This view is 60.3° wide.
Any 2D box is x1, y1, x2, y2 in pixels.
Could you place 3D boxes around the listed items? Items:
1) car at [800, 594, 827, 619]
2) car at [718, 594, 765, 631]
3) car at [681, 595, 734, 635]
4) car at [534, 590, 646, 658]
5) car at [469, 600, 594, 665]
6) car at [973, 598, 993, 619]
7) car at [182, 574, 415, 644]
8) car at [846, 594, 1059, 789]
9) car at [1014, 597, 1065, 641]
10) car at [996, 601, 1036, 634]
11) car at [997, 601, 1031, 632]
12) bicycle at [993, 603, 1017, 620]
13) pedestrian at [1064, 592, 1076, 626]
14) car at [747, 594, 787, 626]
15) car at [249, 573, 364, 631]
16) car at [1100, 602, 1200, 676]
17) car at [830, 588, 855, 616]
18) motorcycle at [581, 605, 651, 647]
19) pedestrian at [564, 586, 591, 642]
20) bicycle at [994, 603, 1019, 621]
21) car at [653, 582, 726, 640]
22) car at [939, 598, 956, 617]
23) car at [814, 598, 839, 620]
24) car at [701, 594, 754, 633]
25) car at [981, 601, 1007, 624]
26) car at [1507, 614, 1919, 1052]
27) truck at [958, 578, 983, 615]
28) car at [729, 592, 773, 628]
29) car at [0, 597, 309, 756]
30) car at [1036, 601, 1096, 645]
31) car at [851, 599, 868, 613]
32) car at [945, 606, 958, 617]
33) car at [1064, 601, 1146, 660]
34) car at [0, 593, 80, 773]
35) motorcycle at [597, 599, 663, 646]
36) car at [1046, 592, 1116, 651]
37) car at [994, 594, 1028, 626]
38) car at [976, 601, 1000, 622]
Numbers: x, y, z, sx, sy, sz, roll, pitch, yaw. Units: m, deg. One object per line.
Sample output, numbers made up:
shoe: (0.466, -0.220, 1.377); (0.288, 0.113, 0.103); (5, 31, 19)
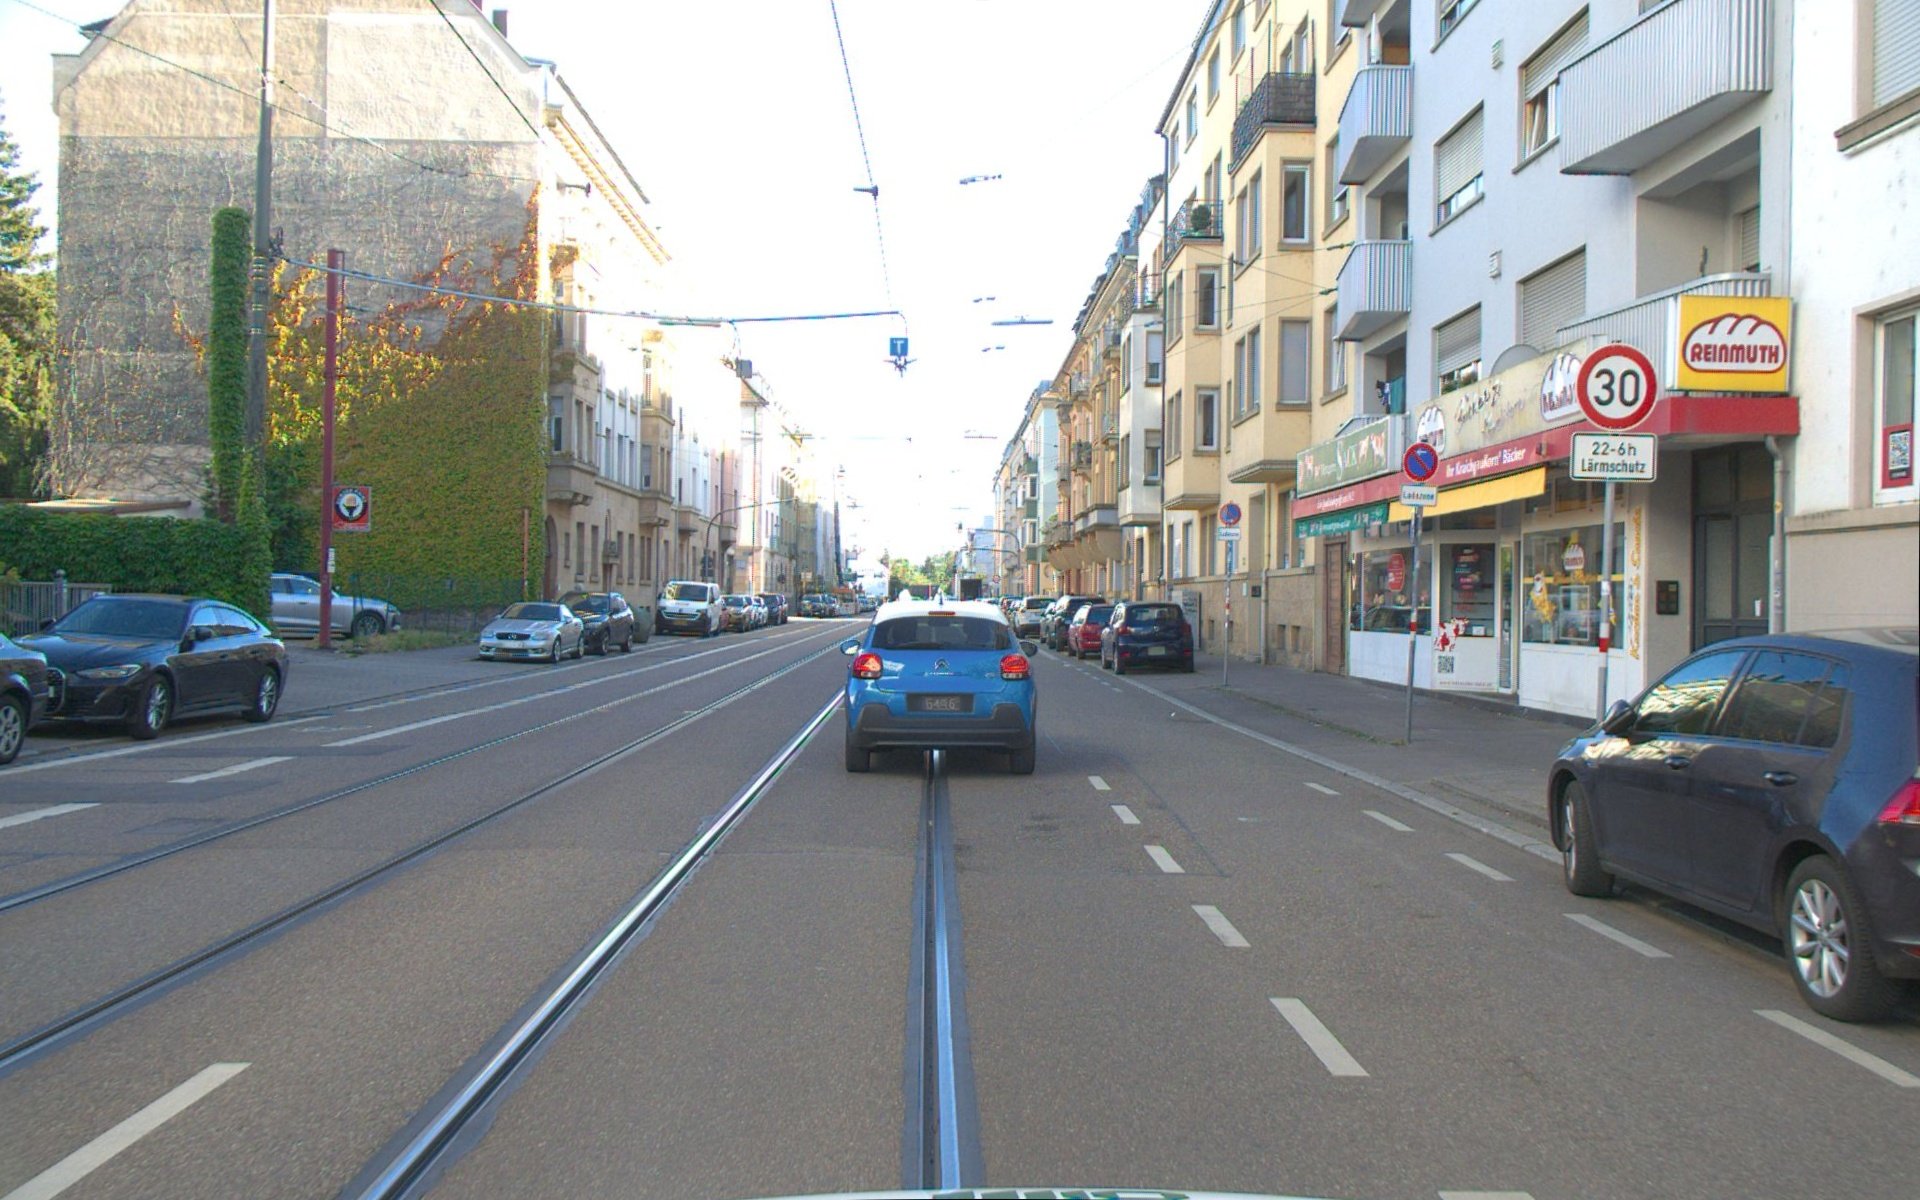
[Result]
car: (-10.855, 0.487, 122.873); (1.748, 1.720, 4.665); (3, 0, -3)
car: (-10.111, 0.565, 76.713); (1.736, 1.574, 4.363); (3, 0, -3)
car: (-10.165, 0.600, 66.841); (1.570, 1.498, 3.645); (3, 0, -1)
car: (-9.584, 0.600, 43.182); (1.746, 1.593, 4.611); (3, 0, 1)
car: (-9.703, 0.707, 37.770); (1.747, 1.337, 4.220); (3, 0, -1)
car: (2.095, 0.799, 151.823); (1.695, 1.859, 4.685); (0, 0, -1)
car: (-15.366, 0.219, 38.514); (4.740, 1.544, 1.976); (1, 0, -35)
car: (-0.083, 0.759, 15.682); (1.700, 1.533, 3.992); (3, 0, -1)
car: (3.211, 0.741, 67.702); (1.805, 1.720, 4.504); (1, 0, -1)
car: (2.678, 0.823, 79.414); (1.621, 1.509, 4.472); (1, 0, -2)
car: (2.869, 0.880, 89.016); (1.717, 1.622, 3.729); (1, 0, 0)
bicycle: (3.252, 0.836, 119.518); (1.687, 1.174, 0.469); (-3, 0, -1)
pedestrian: (5.448, 0.441, 81.868); (0.502, 1.716, 0.448); (1, 0, -1)
car: (-10.202, 0.514, 87.725); (1.747, 1.580, 3.018); (3, 0, -1)
car: (-18.613, 0.045, 47.271); (1.716, 1.552, 3.908); (1, 0, 0)
car: (4.109, 0.806, 36.269); (1.683, 1.517, 4.001); (-1, 0, -1)
car: (-11.199, 0.160, 157.795); (2.102, 2.518, 4.977); (3, 0, -3)
motorcycle: (-9.962, 0.749, 48.019); (0.725, 1.191, 2.176); (1, 0, 29)
pedestrian: (-12.258, 0.439, 53.004); (0.666, 1.754, 0.616); (1, 0, -1)
bicycle: (3.289, 0.842, 117.388); (1.687, 1.174, 0.469); (-3, 0, -1)
car: (-9.975, 0.401, 61.382); (1.933, 1.983, 5.250); (3, 0, -2)
car: (-1.345, 0.783, 176.260); (1.784, 1.927, 3.999); (1, 0, -1)
car: (-10.812, 0.688, 134.067); (1.748, 1.655, 4.606); (3, 0, -3)
car: (-9.968, 0.549, 71.244); (1.747, 1.550, 4.358); (3, 0, -2)
car: (2.510, 0.901, 122.797); (1.747, 1.660, 3.999); (0, 0, -1)
car: (4.157, 0.828, 7.834); (1.675, 1.432, 4.358); (-2, 0, 0)
truck: (1.217, -0.395, 193.641); (2.794, 4.154, 11.270); (0, 0, 0)
car: (-10.325, 0.499, 81.979); (1.748, 1.650, 4.177); (3, 0, -3)
car: (-9.160, 0.749, 18.588); (1.747, 1.471, 4.841); (3, 0, -1)
car: (3.638, 0.763, 57.303); (1.702, 1.467, 4.031); (1, 0, -2)
car: (-12.392, 0.756, 203.866); (1.789, 1.660, 4.848); (0, 0, -1)
car: (-1.128, 1.521, 226.741); (1.729, 1.513, 4.031); (0, 0, -1)
car: (3.882, 0.783, 44.846); (1.821, 1.481, 4.709); (1, 0, 0)
car: (-9.002, 0.684, 12.952); (1.747, 1.507, 4.698); (3, 0, -1)
motorcycle: (-9.930, 0.668, 49.832); (0.867, 1.375, 1.953); (1, 0, 31)
car: (3.687, 0.639, 51.097); (1.821, 1.695, 4.561); (1, 0, 0)
car: (2.928, 0.563, 95.708); (1.717, 1.766, 4.506); (-3, 0, 0)
car: (2.190, 0.902, 128.368); (1.747, 1.603, 4.325); (0, 0, -1)
